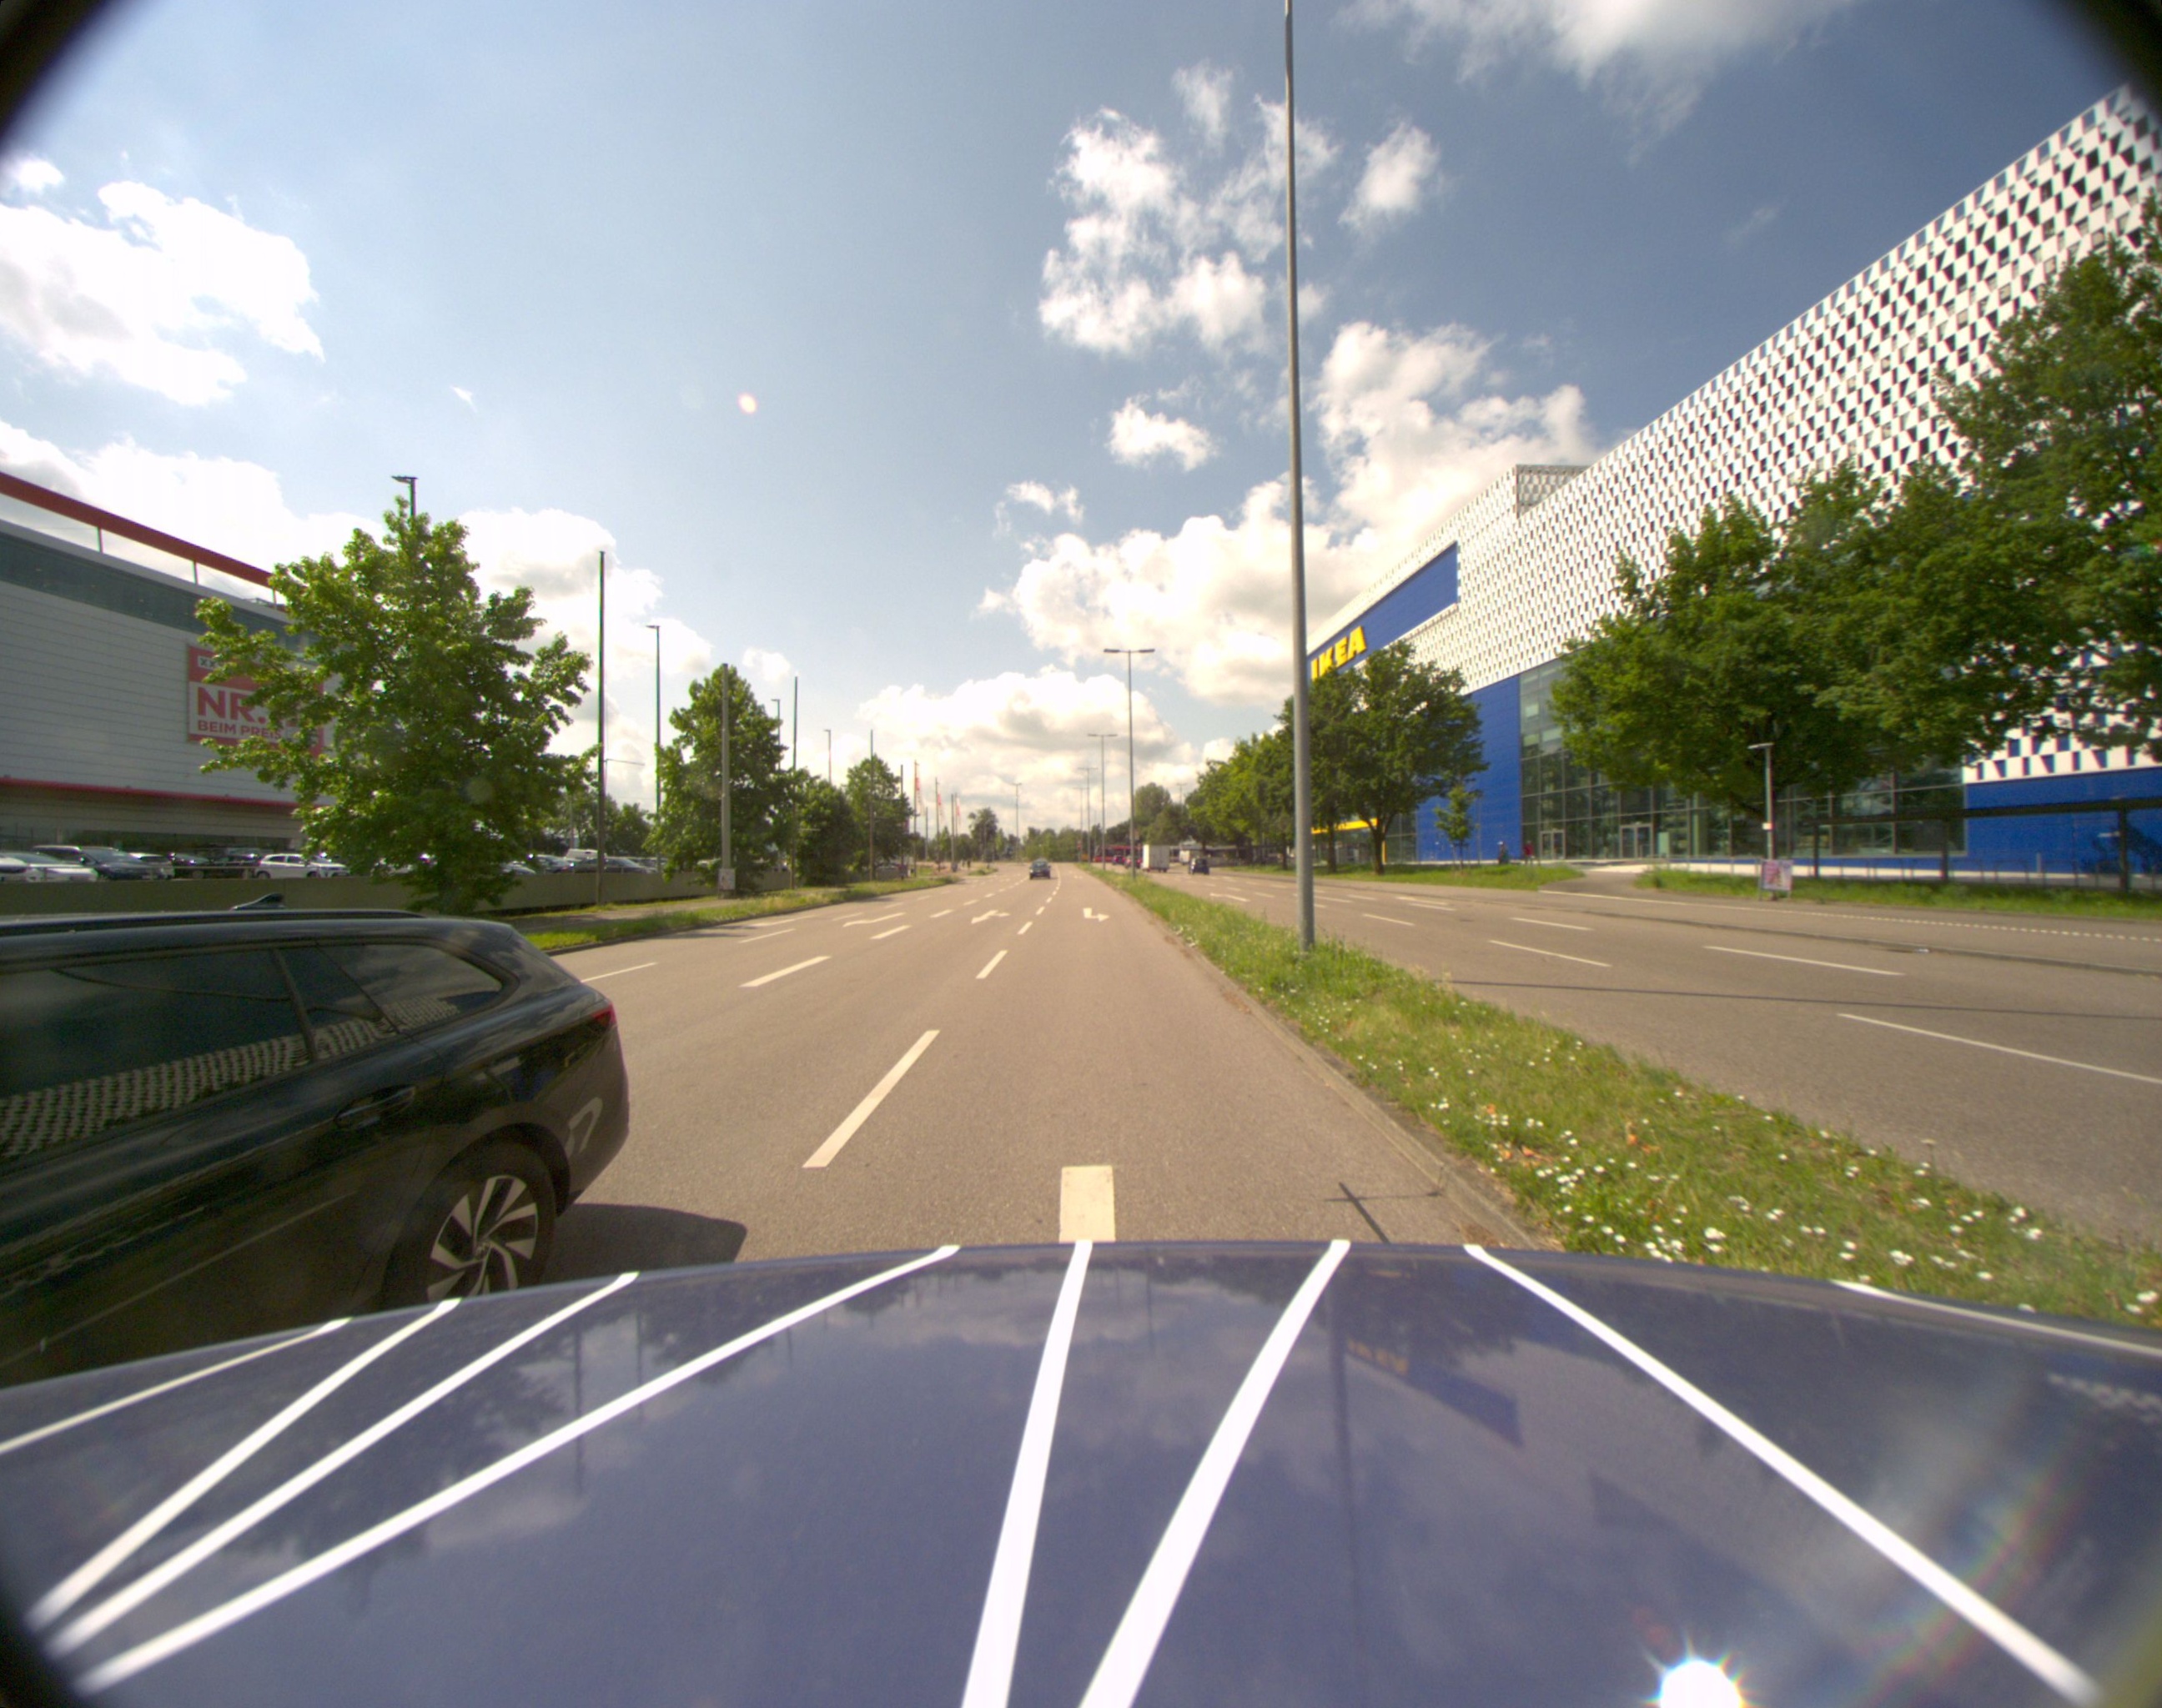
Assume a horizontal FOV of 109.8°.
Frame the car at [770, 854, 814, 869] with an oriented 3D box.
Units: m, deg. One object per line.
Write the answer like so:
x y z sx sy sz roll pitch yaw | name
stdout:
-34.599 0.898 91.110 4.420 1.596 1.955 -2 0 -1 | car

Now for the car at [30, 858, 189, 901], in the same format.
-39.314 1.019 30.797 4.417 1.596 1.956 -2 0 8 | car

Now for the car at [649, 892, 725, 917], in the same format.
-28.497 3.656 55.067 4.420 1.596 1.955 -2 0 -1 | car

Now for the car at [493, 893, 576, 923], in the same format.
-37.382 3.674 52.032 4.421 1.754 1.559 -2 1 -3 | car

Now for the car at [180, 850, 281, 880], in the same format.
-49.879 0.640 44.597 4.416 1.596 1.956 -2 0 11 | car

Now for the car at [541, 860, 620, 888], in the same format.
-32.802 1.302 49.869 3.996 1.595 1.778 -2 1 2 | car

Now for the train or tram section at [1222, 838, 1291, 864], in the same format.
35.554 -0.611 154.083 13.098 4.646 3.731 -2 1 -2 | train or tram section

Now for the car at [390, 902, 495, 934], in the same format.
-37.545 3.755 44.739 4.421 1.596 1.954 -2 0 -2 | car

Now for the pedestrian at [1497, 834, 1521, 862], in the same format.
26.390 -0.370 46.869 0.854 1.718 1.165 -2 1 3 | pedestrian

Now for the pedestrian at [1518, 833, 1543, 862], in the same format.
27.685 -0.399 46.776 0.854 1.718 1.165 -2 1 3 | pedestrian

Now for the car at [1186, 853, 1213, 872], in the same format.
11.146 0.779 71.493 1.941 1.674 4.000 -2 1 1 | car

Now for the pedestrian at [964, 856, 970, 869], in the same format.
-15.552 1.147 103.348 0.704 1.803 0.545 -2 1 -9 | pedestrian

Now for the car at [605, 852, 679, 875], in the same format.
-33.313 0.722 57.726 4.420 1.596 1.955 -2 0 -1 | car

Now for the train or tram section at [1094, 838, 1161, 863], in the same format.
9.321 -0.772 153.085 13.098 4.534 3.731 -2 1 -2 | train or tram section

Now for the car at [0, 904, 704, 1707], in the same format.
-2.808 1.013 1.159 1.813 1.469 5.204 -2 0 0 | car

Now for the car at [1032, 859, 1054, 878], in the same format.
-3.142 1.193 62.894 1.606 1.521 4.270 -1 0 0 | car

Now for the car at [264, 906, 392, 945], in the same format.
-37.112 3.513 37.522 4.419 1.596 1.955 -2 0 3 | car

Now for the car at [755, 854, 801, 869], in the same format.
-34.443 0.871 86.538 4.420 1.596 1.955 -2 0 -1 | car

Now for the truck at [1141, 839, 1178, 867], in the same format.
8.148 -0.125 79.173 2.972 2.736 5.782 -2 1 -2 | truck

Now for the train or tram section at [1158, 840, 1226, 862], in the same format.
22.425 -0.613 153.598 13.099 4.346 3.731 0 1 -2 | train or tram section

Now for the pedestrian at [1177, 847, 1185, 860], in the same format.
16.913 -0.106 128.555 0.817 2.082 1.041 -1 2 42 | pedestrian

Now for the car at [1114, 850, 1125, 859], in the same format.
7.353 0.112 144.558 1.941 1.674 4.000 -2 1 1 | car

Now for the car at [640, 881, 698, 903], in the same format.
-38.074 3.540 70.304 4.421 1.754 1.559 -2 1 -3 | car

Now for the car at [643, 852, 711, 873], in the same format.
-33.166 0.663 62.472 4.420 1.596 1.955 -2 0 -1 | car

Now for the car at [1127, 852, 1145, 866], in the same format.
7.094 0.635 98.413 1.941 1.674 4.000 -2 1 1 | car

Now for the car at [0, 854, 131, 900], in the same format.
-38.594 0.863 28.313 4.417 1.596 1.956 -2 0 8 | car

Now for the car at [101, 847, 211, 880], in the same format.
-48.842 0.495 40.136 4.415 1.596 1.957 -2 0 14 | car

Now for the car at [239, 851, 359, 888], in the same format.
-40.889 0.785 39.799 4.421 1.754 1.559 -2 1 -3 | car

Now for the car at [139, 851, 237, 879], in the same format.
-55.154 0.661 46.953 4.416 1.596 1.956 -2 0 11 | car

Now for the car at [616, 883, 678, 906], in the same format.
-37.913 3.535 66.396 4.421 1.754 1.559 -2 1 -3 | car

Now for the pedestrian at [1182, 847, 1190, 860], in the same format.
17.642 -0.127 127.919 0.817 2.082 1.041 -1 2 42 | pedestrian

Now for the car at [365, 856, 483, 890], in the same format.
-34.217 0.957 39.661 4.420 1.596 1.955 -2 0 -1 | car

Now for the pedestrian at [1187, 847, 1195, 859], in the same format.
18.429 -0.150 127.275 0.817 2.082 1.041 -1 2 42 | pedestrian

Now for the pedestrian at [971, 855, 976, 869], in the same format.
-14.667 1.086 103.687 0.527 1.803 0.677 -2 1 -9 | pedestrian

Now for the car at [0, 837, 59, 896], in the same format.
-34.546 0.458 23.308 3.997 1.783 1.749 -2 1 1 | car

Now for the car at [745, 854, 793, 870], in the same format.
-34.099 0.826 83.071 4.420 1.596 1.955 -2 0 -1 | car
